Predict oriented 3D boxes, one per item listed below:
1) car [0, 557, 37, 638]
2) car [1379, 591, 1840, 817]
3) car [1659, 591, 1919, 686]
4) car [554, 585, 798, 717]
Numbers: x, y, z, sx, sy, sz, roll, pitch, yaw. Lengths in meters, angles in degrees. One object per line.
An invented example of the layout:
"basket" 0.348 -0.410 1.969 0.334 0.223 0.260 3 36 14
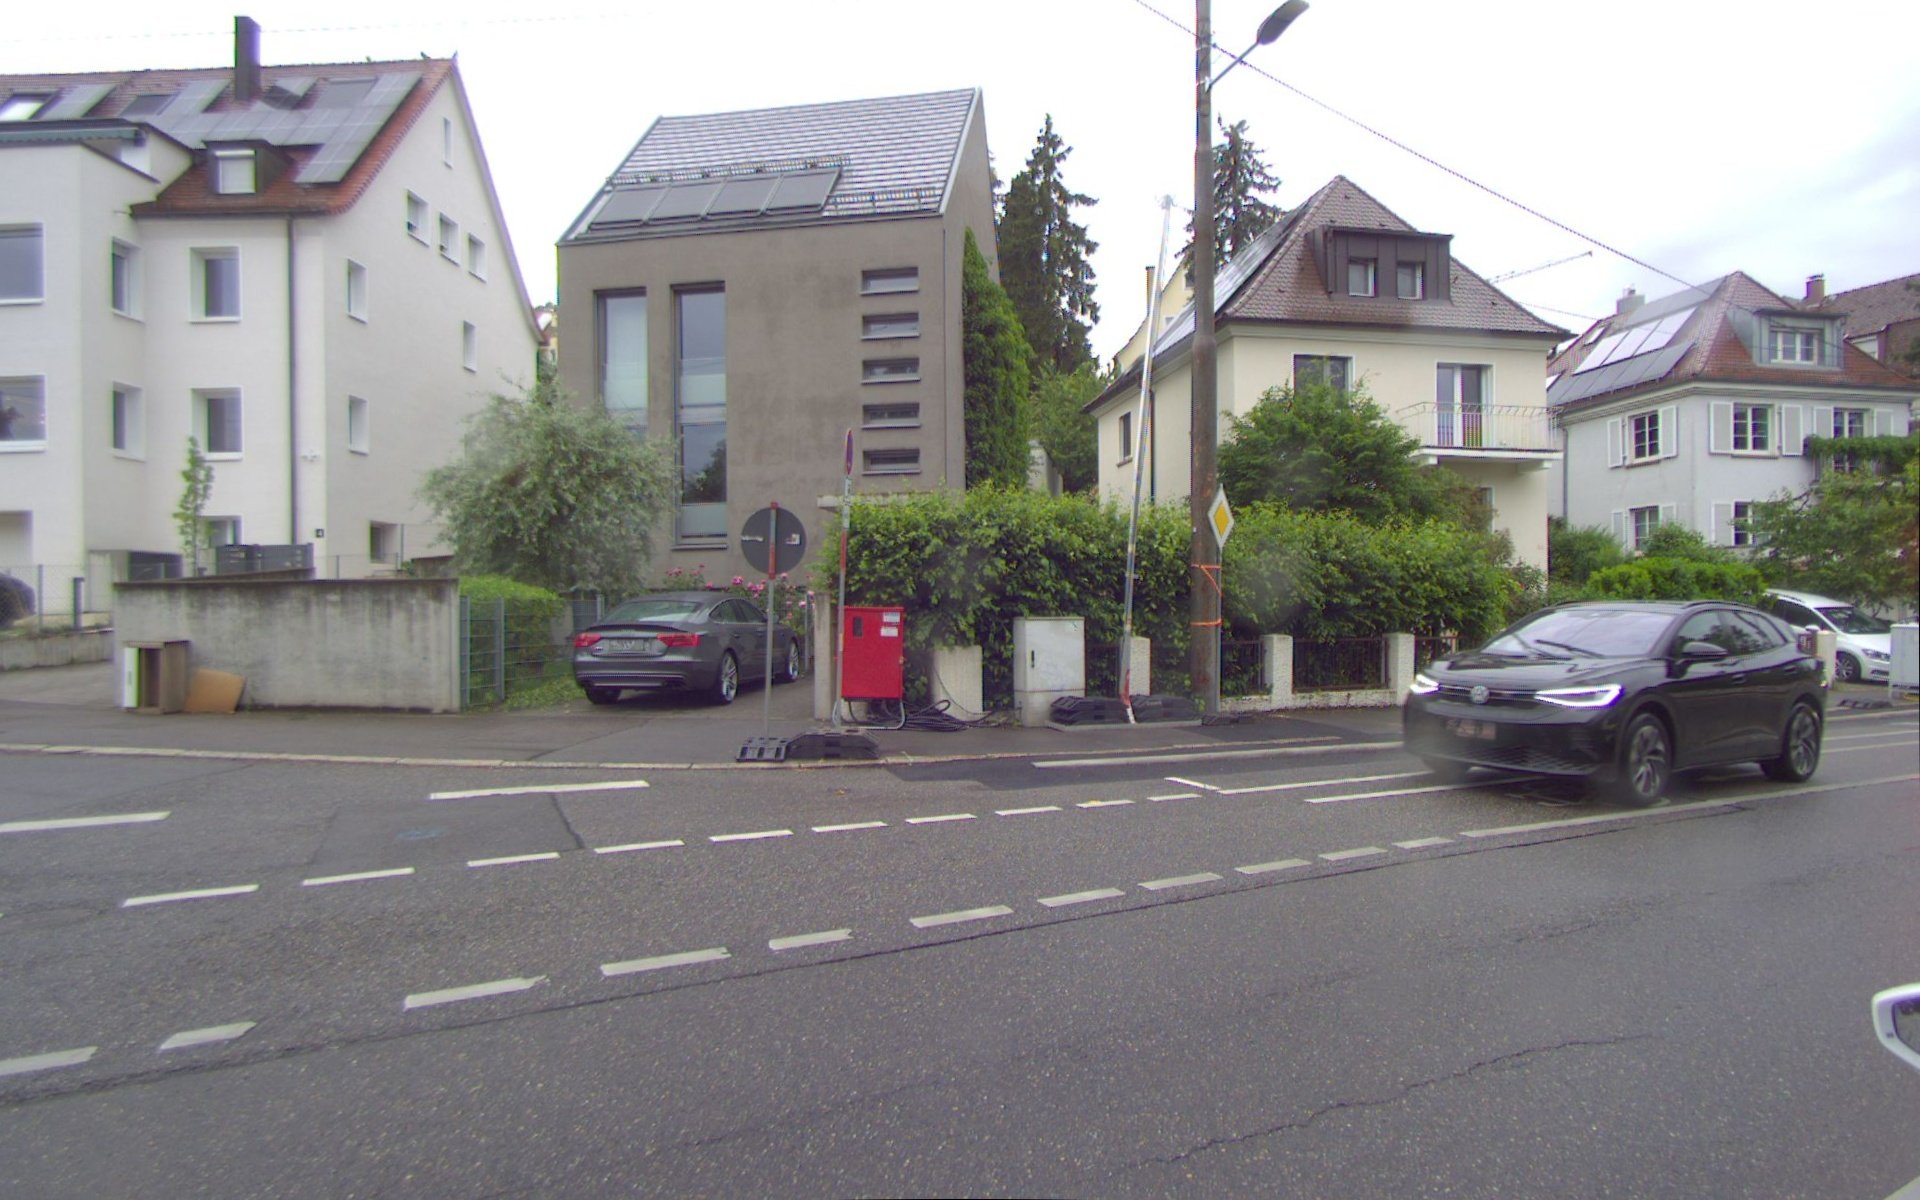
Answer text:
"car" -16.732 0.046 15.177 1.576 1.298 4.008 2 4 6
"car" 5.965 0.769 9.147 4.115 1.643 1.858 1 0 -30
"car" 19.595 0.817 23.923 1.870 2.033 4.628 1 0 -18
"car" -3.609 0.561 13.585 1.740 1.506 4.002 0 1 7
